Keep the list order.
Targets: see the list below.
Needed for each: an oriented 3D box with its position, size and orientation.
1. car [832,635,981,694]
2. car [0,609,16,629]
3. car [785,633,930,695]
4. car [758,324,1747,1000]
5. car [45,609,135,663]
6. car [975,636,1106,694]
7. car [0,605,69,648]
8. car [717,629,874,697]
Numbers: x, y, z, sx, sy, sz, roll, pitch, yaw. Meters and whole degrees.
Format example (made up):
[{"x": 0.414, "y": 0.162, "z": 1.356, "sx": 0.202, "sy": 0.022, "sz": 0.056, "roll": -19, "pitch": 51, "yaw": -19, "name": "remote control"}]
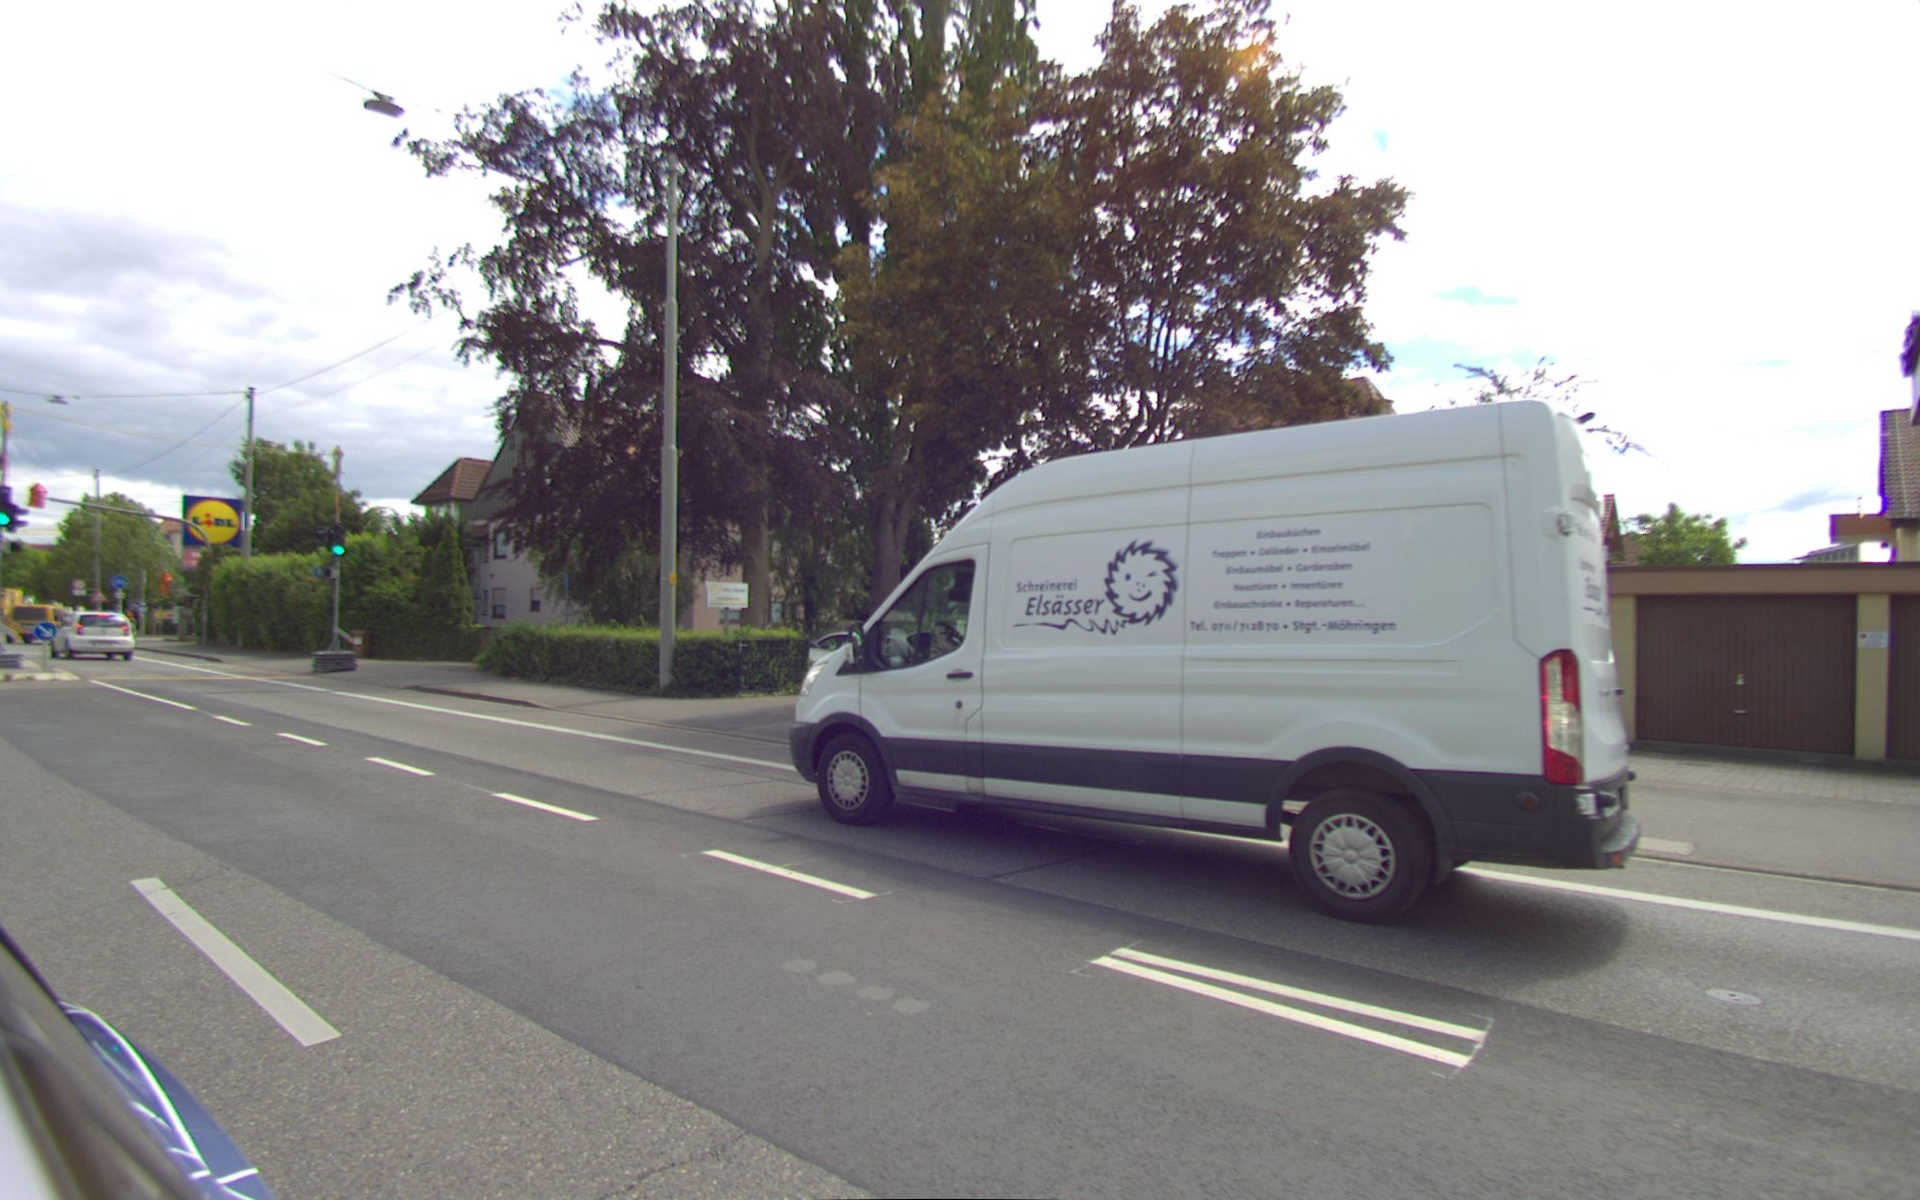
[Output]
[{"x": -1.546, "y": 1.798, "z": 28.496, "sx": 3.925, "sy": 1.401, "sz": 1.784, "roll": 1, "pitch": -3, "yaw": 37, "name": "car"}, {"x": -82.162, "y": 1.599, "z": 86.639, "sx": 1.847, "sy": 1.629, "sz": 4.002, "roll": -1, "pitch": 1, "yaw": -45, "name": "car"}, {"x": -2.709, "y": 1.637, "z": 26.495, "sx": 3.517, "sy": 1.399, "sz": 1.722, "roll": 1, "pitch": -2, "yaw": 36, "name": "car"}, {"x": 1.519, "y": 0.303, "z": 6.992, "sx": 6.139, "sy": 2.841, "sz": 2.123, "roll": 0, "pitch": -3, "yaw": 38, "name": "car"}, {"x": -27.445, "y": 1.114, "z": 31.916, "sx": 3.238, "sy": 1.530, "sz": 1.590, "roll": 1, "pitch": -4, "yaw": 41, "name": "car"}, {"x": 2.514, "y": 2.011, "z": 31.827, "sx": 3.706, "sy": 1.580, "sz": 1.816, "roll": 1, "pitch": -2, "yaw": 34, "name": "car"}, {"x": -42.598, "y": 1.168, "z": 46.602, "sx": 1.967, "sy": 1.797, "sz": 4.010, "roll": 0, "pitch": 1, "yaw": -35, "name": "car"}, {"x": -3.933, "y": 1.465, "z": 24.021, "sx": 3.516, "sy": 1.399, "sz": 1.646, "roll": 1, "pitch": -3, "yaw": 36, "name": "car"}]
